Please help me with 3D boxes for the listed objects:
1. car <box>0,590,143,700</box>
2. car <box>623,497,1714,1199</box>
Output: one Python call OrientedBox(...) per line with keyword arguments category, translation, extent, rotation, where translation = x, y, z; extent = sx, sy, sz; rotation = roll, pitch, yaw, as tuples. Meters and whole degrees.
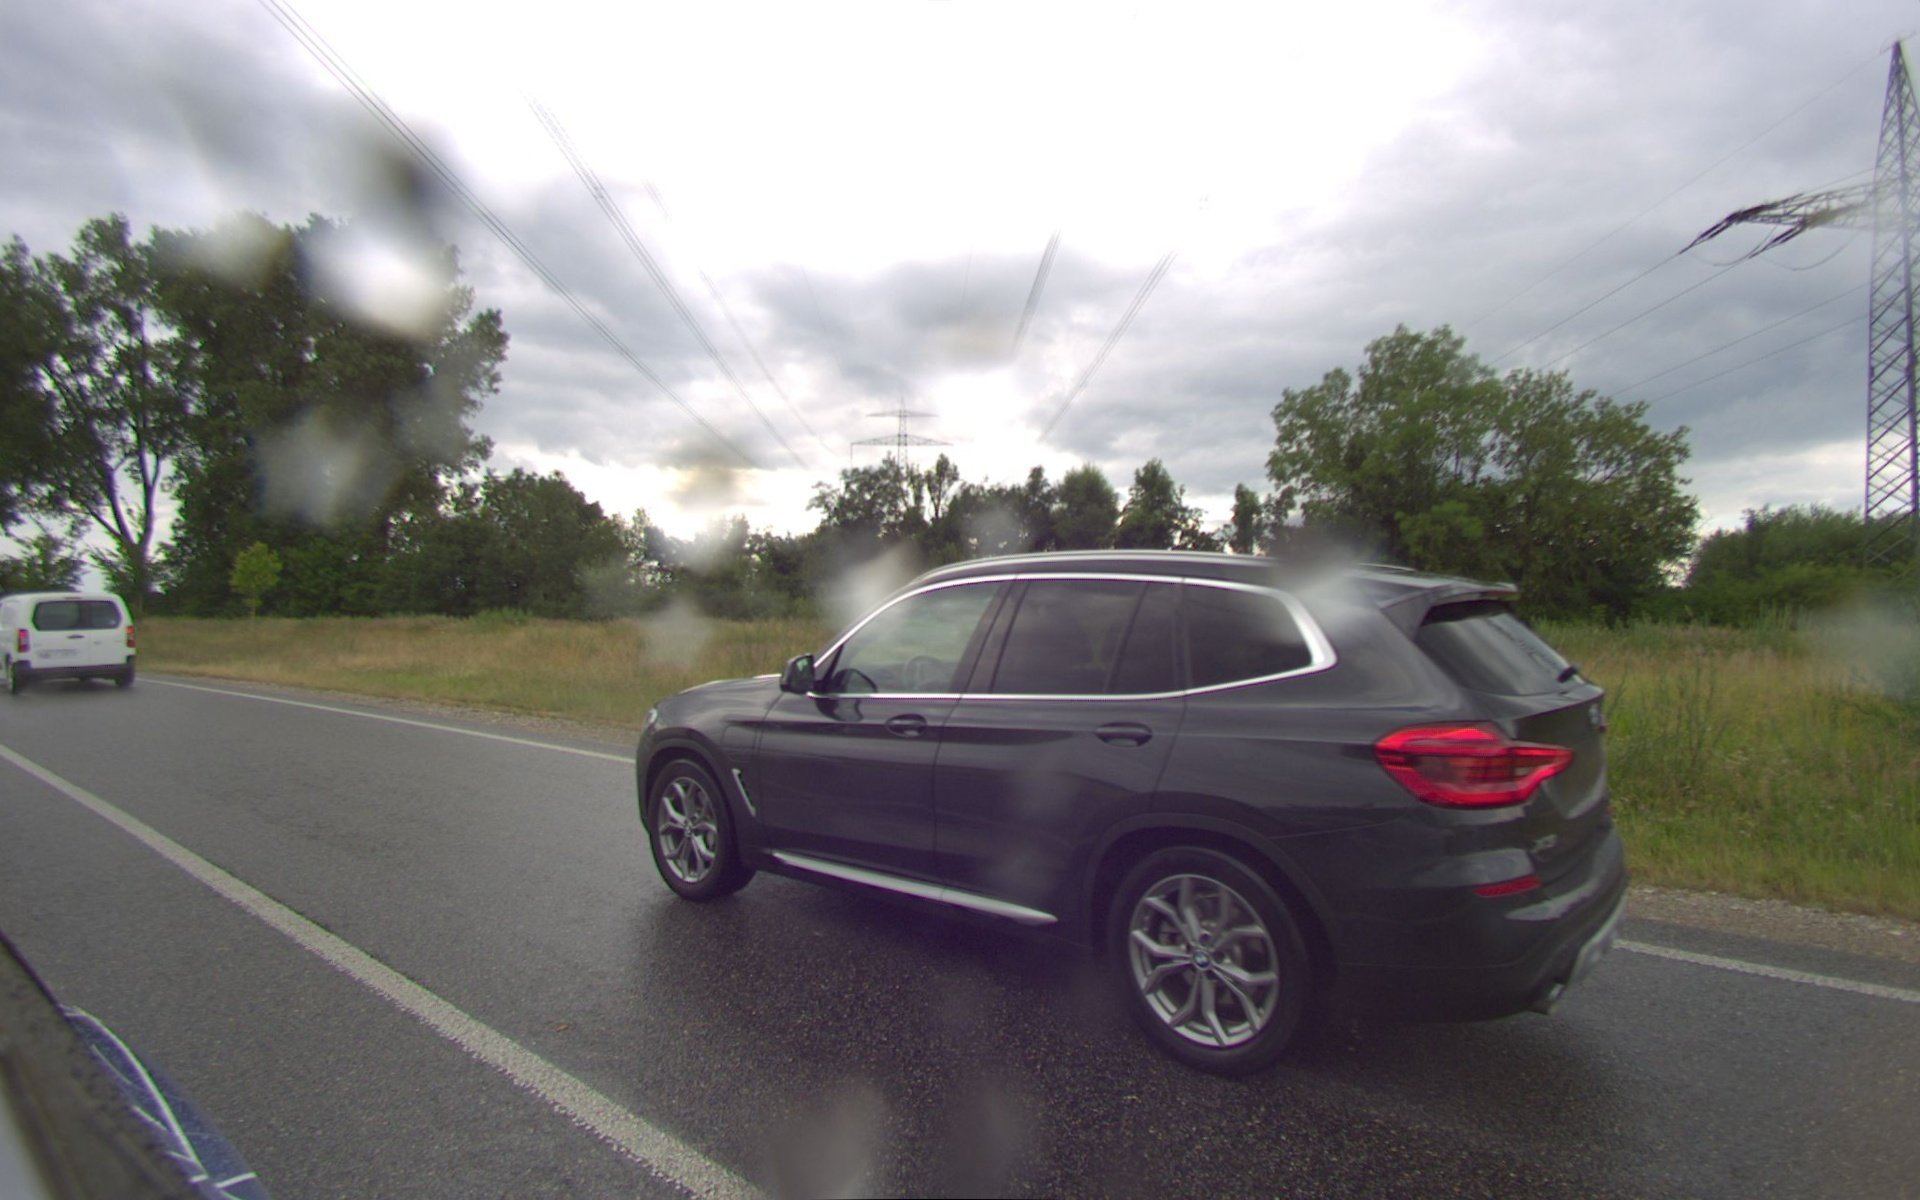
OrientedBox(category="car", translation=(-17.484, 0.772, 19.454), extent=(4.441, 1.869, 1.826), rotation=(0, 1, 39))
OrientedBox(category="car", translation=(0.472, 0.614, 4.562), extent=(4.534, 1.644, 1.829), rotation=(-1, -1, 42))
